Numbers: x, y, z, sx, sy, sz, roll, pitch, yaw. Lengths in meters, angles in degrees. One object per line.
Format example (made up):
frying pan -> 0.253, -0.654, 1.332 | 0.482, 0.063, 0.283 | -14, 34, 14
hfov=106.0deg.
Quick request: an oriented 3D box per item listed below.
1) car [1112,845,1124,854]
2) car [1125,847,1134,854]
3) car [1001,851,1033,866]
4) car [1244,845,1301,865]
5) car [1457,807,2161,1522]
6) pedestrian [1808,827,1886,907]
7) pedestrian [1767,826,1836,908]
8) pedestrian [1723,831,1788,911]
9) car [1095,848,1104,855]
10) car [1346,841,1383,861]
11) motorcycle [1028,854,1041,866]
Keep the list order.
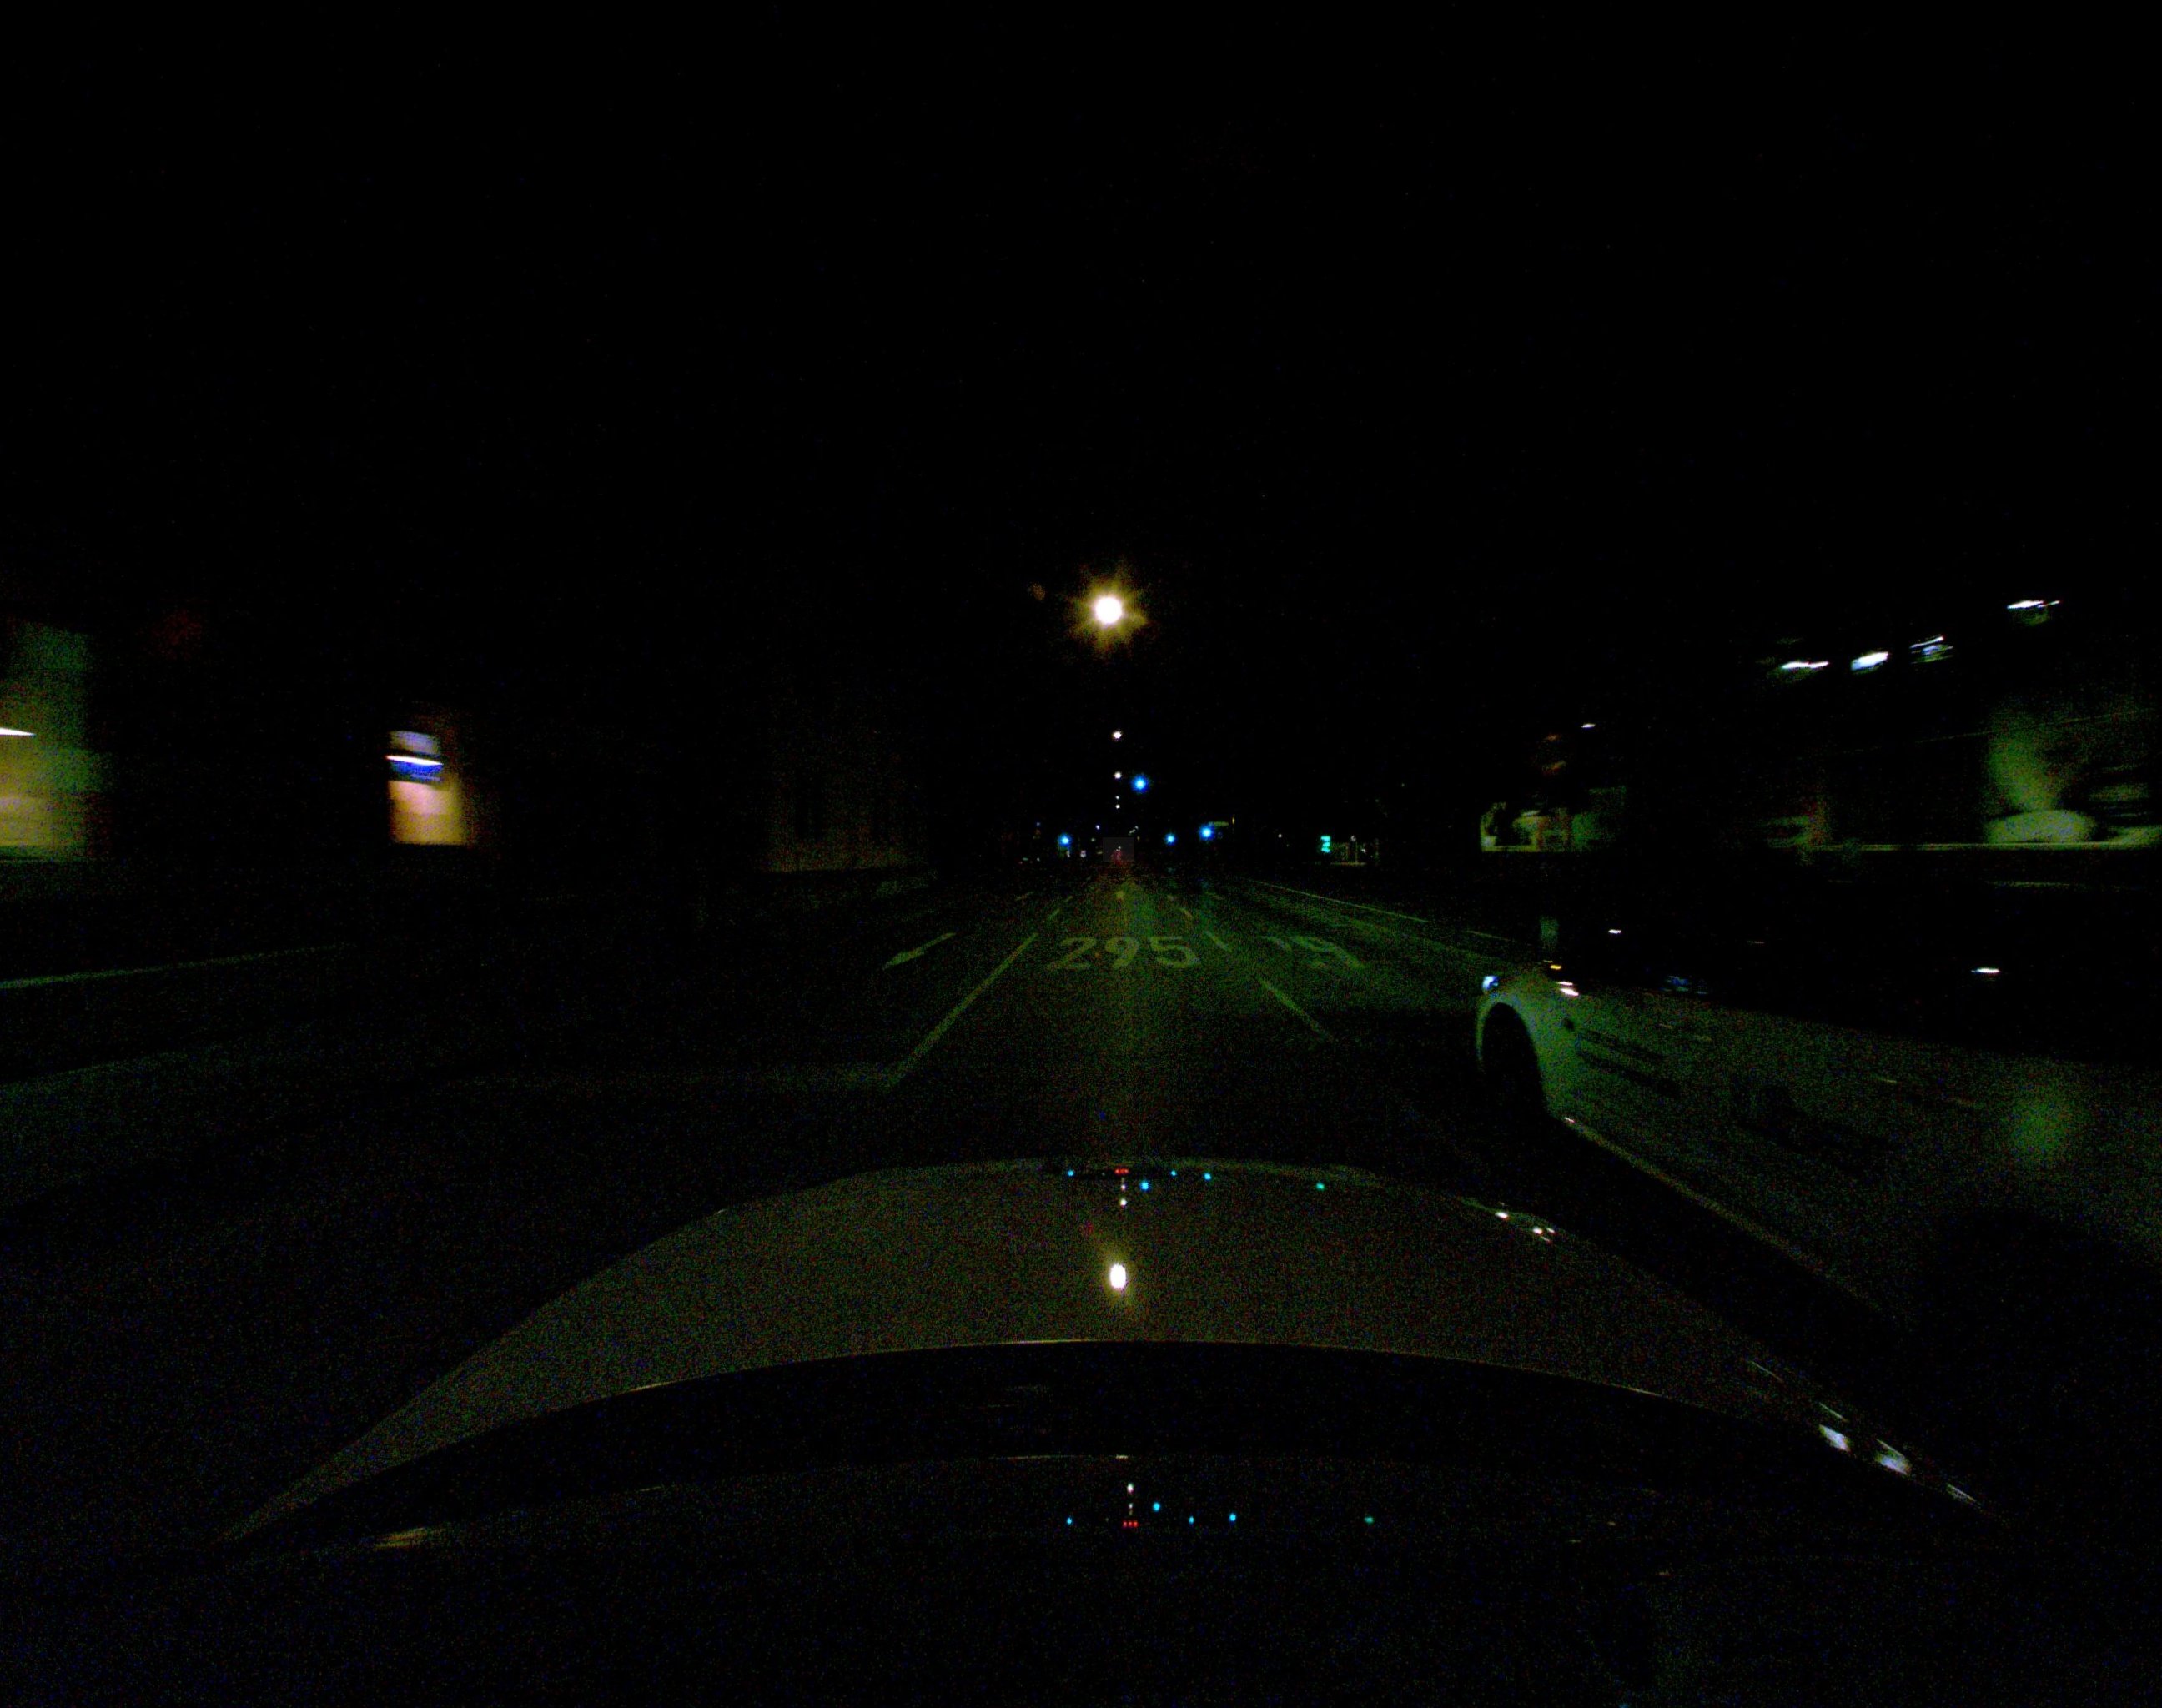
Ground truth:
car -> 6.713, -0.753, 148.907 | 1.987, 1.640, 4.000 | 0, 0, 1
car -> 11.276, -0.882, 189.228 | 1.987, 1.596, 4.000 | -1, 0, 0
car -> -6.638, 0.469, 83.911 | 1.814, 1.486, 3.962 | -1, 0, -29
car -> 14.450, 0.063, 61.696 | 3.968, 1.386, 1.774 | -1, 0, 5
car -> 3.140, 0.642, 3.071 | 1.722, 1.435, 4.215 | 1, 0, 4
pedestrian -> 17.533, 0.284, 18.657 | 0.897, 1.769, 0.907 | -1, 0, 2
pedestrian -> 16.180, 0.284, 18.312 | 0.736, 1.769, 0.907 | -1, 0, 2
pedestrian -> 15.409, 0.387, 18.631 | 0.711, 1.769, 0.907 | -1, 0, 2
car -> 3.939, -0.569, 174.955 | 1.771, 1.390, 4.000 | -1, 0, 1
car -> 21.999, -0.207, 63.293 | 1.567, 1.487, 3.833 | -1, 0, 2
motorcycle -> -4.614, 0.565, 81.197 | 0.782, 1.204, 2.436 | -1, 0, -16
